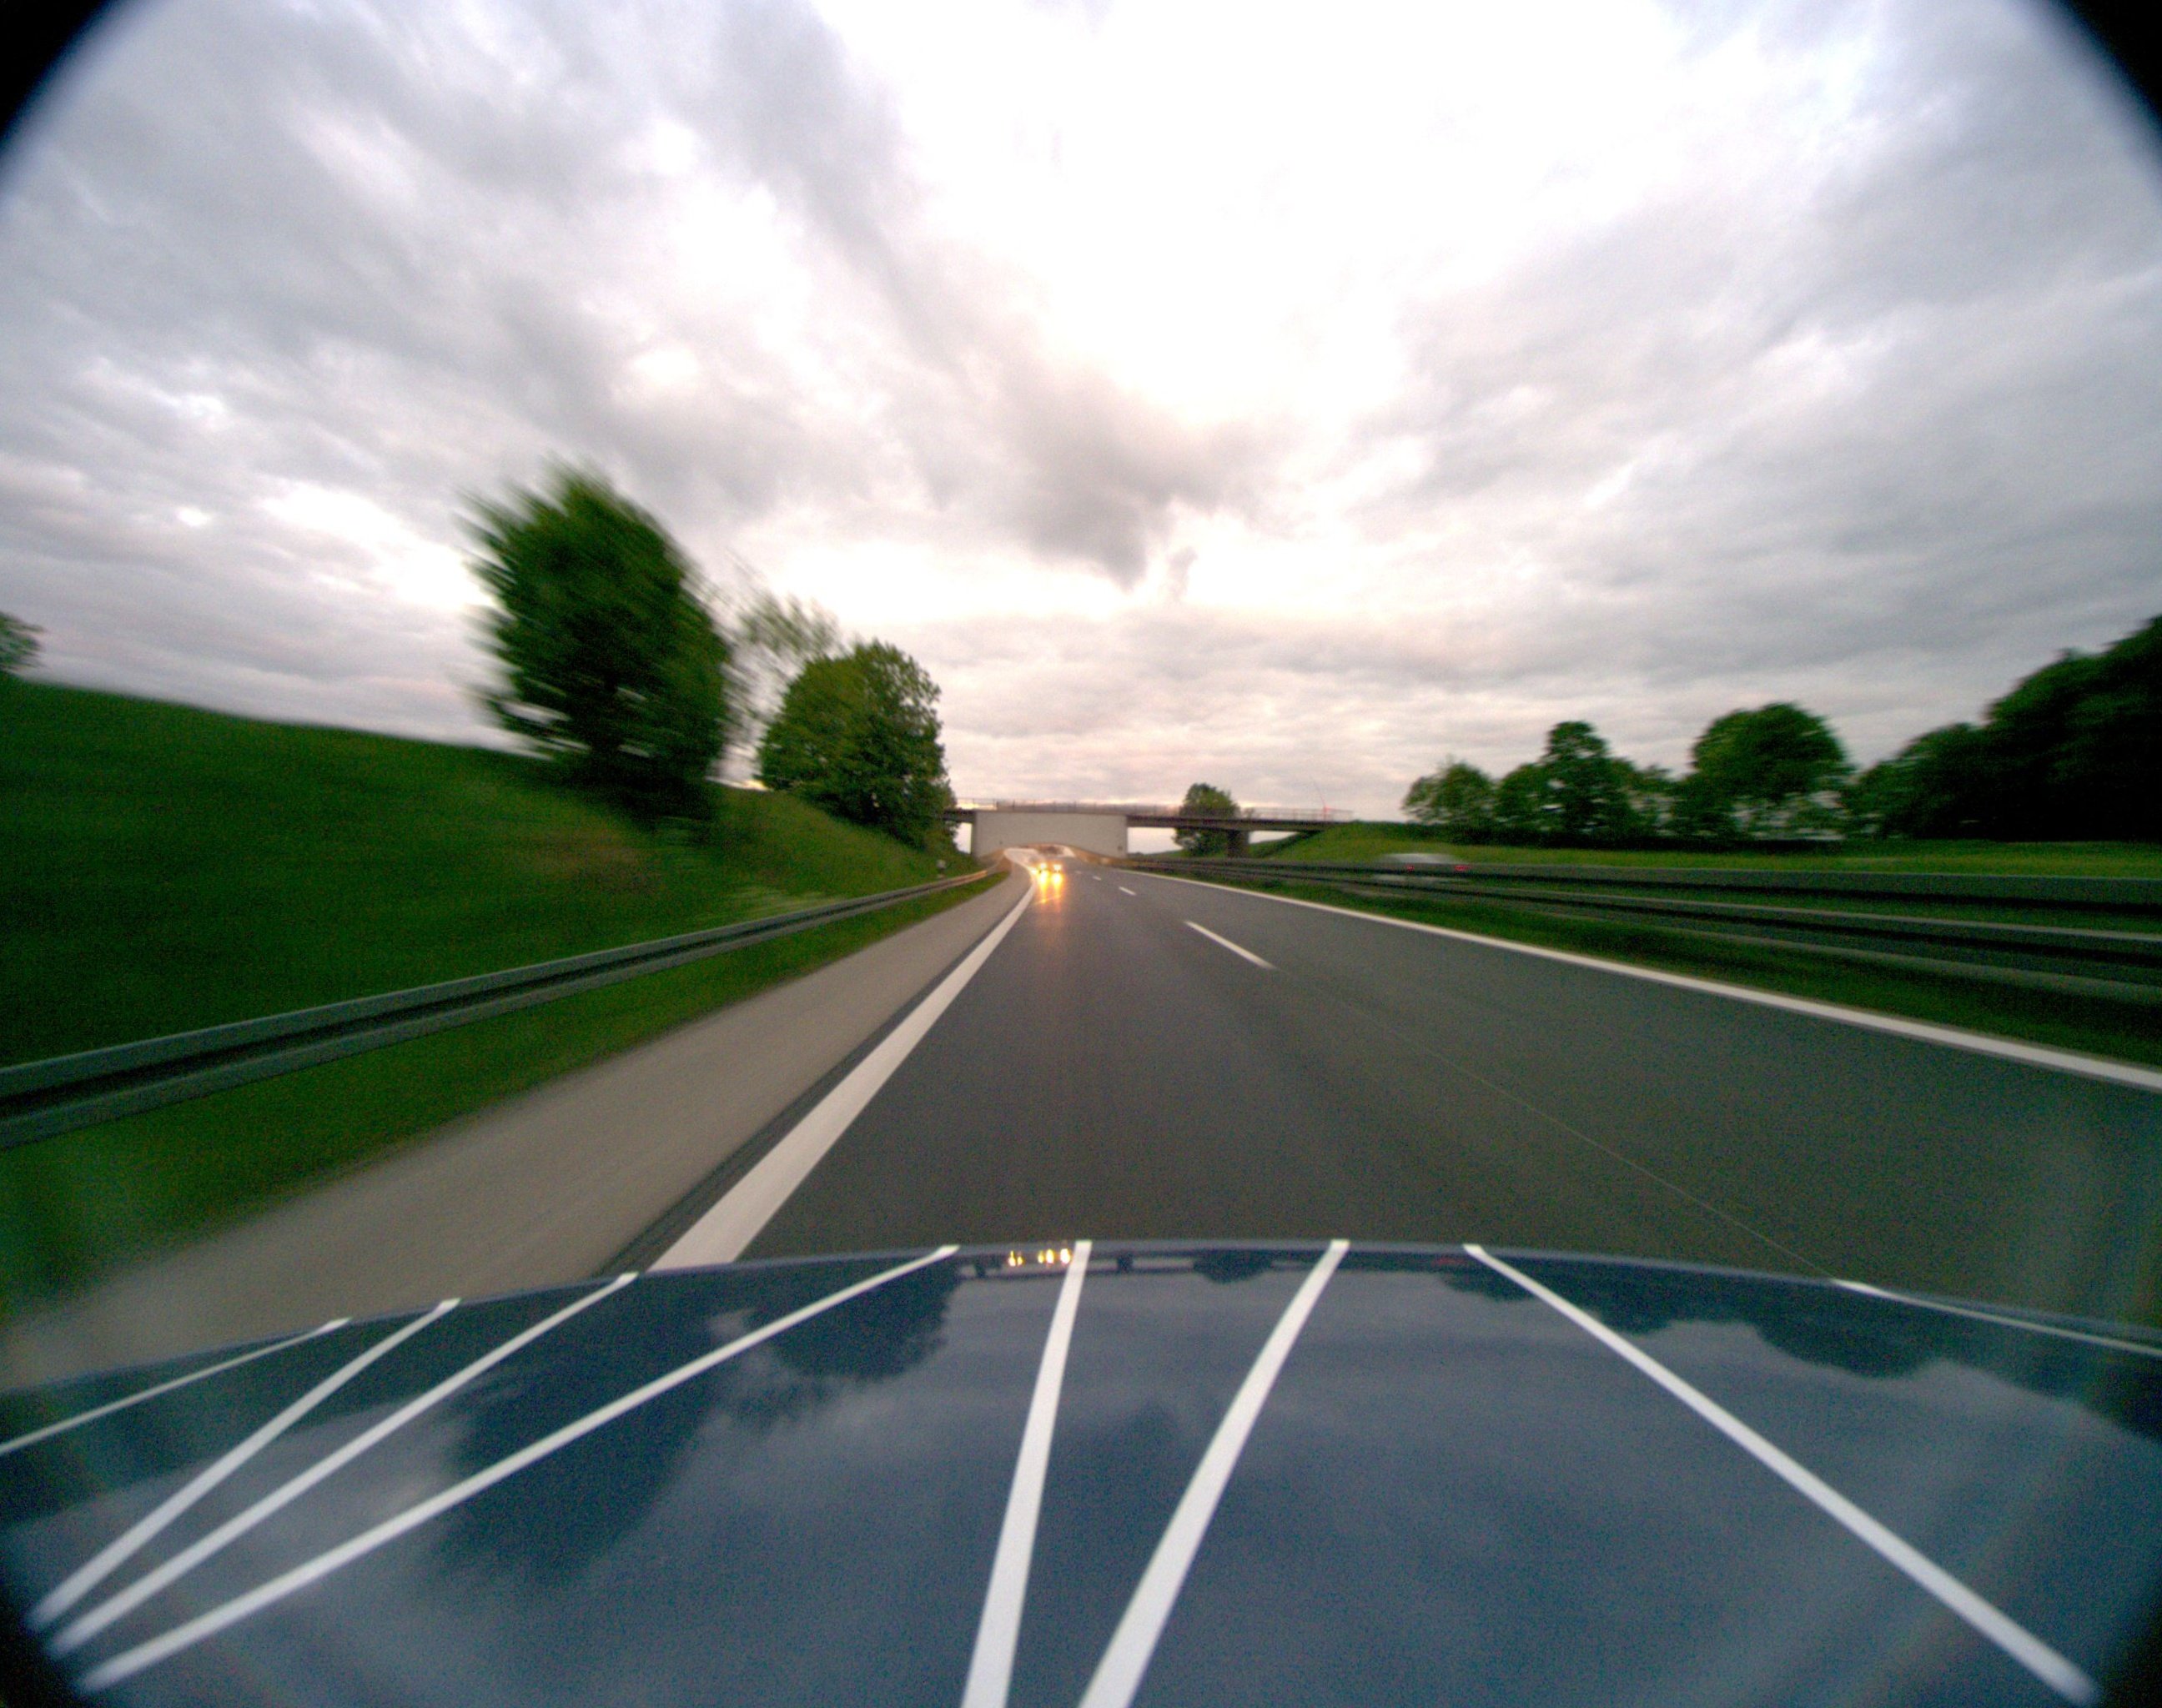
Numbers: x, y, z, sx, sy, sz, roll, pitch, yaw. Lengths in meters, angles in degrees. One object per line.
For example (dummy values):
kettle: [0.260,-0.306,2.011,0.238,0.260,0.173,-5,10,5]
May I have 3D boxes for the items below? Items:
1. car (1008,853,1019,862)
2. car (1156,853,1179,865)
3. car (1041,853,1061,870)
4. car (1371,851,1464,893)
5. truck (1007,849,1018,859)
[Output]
car: [-13.863,0.764,156.131,1.921,1.826,3.998,1,-1,-7]
car: [10.767,0.598,94.891,1.803,1.433,4.676,0,0,-7]
car: [-2.789,0.680,69.994,1.682,1.504,3.998,0,0,-4]
car: [14.024,0.695,31.988,1.758,1.630,4.476,0,0,-3]
truck: [-22.824,-0.022,252.867,2.622,3.091,6.659,-1,0,-16]
